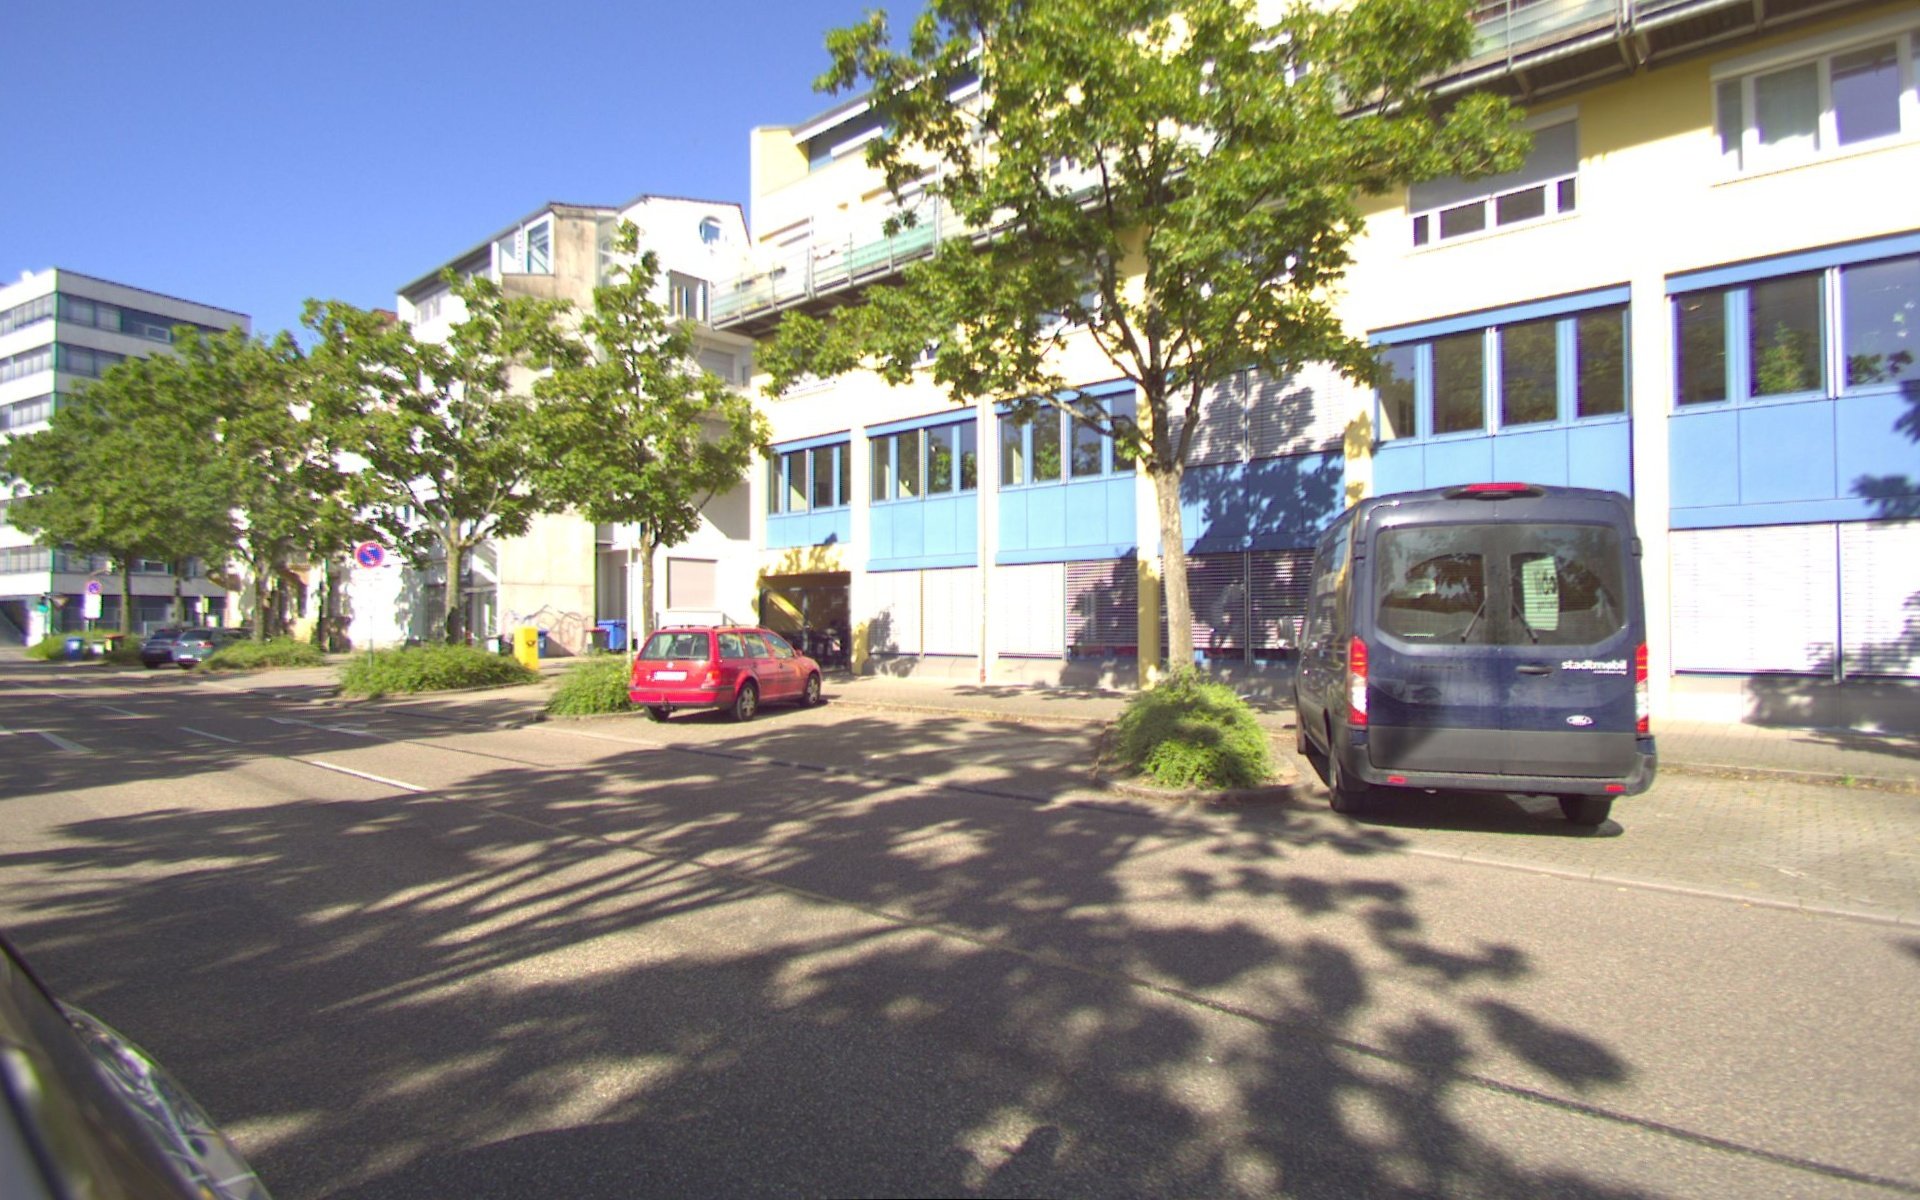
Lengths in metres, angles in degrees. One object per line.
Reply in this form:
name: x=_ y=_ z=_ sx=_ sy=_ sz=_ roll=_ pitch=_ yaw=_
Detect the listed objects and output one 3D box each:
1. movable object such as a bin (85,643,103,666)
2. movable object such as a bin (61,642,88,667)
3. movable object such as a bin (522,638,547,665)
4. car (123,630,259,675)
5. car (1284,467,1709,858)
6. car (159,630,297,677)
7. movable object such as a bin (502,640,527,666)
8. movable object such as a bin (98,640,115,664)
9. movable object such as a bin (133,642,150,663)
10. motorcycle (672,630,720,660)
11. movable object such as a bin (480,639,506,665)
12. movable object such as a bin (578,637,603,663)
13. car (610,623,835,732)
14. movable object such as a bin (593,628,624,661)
movable object such as a bin: x=-37.923 y=2.380 z=44.319 sx=0.469 sy=0.967 sz=0.544 roll=-1 pitch=0 yaw=-24
movable object such as a bin: x=-38.572 y=2.354 z=44.087 sx=0.664 sy=1.082 sz=0.805 roll=1 pitch=-2 yaw=-25
movable object such as a bin: x=-15.726 y=1.894 z=37.420 sx=0.574 sy=0.980 sz=0.614 roll=-1 pitch=-3 yaw=36
car: x=-28.460 y=1.903 z=37.601 sx=1.789 sy=1.475 sz=3.992 roll=-1 pitch=0 yaw=6
car: x=4.311 y=0.453 z=9.315 sx=2.166 sy=2.455 sz=5.479 roll=-1 pitch=-1 yaw=15
car: x=-25.936 y=1.862 z=36.030 sx=1.789 sy=1.475 sz=3.992 roll=-1 pitch=0 yaw=6
movable object such as a bin: x=-16.194 y=1.922 z=36.800 sx=0.574 sy=0.935 sz=0.614 roll=-2 pitch=-3 yaw=36
movable object such as a bin: x=-38.156 y=2.329 z=45.240 sx=0.469 sy=1.048 sz=0.544 roll=-1 pitch=0 yaw=-25
movable object such as a bin: x=-37.664 y=2.393 z=46.590 sx=0.469 sy=0.951 sz=0.544 roll=1 pitch=-2 yaw=-25
motorcycle: x=-10.460 y=1.781 z=40.160 sx=0.526 sy=1.143 sz=1.893 roll=-2 pitch=-3 yaw=39
movable object such as a bin: x=-16.699 y=1.852 z=36.196 sx=0.574 sy=0.935 sz=0.614 roll=-2 pitch=-3 yaw=36
movable object such as a bin: x=-14.246 y=1.906 z=38.997 sx=0.689 sy=0.980 sz=0.614 roll=-2 pitch=-3 yaw=36
car: x=-3.688 y=1.164 z=16.572 sx=1.754 sy=1.487 sz=4.212 roll=-2 pitch=-1 yaw=16
movable object such as a bin: x=-13.769 y=1.743 z=39.676 sx=1.119 sy=1.290 sz=0.614 roll=-2 pitch=-3 yaw=36
